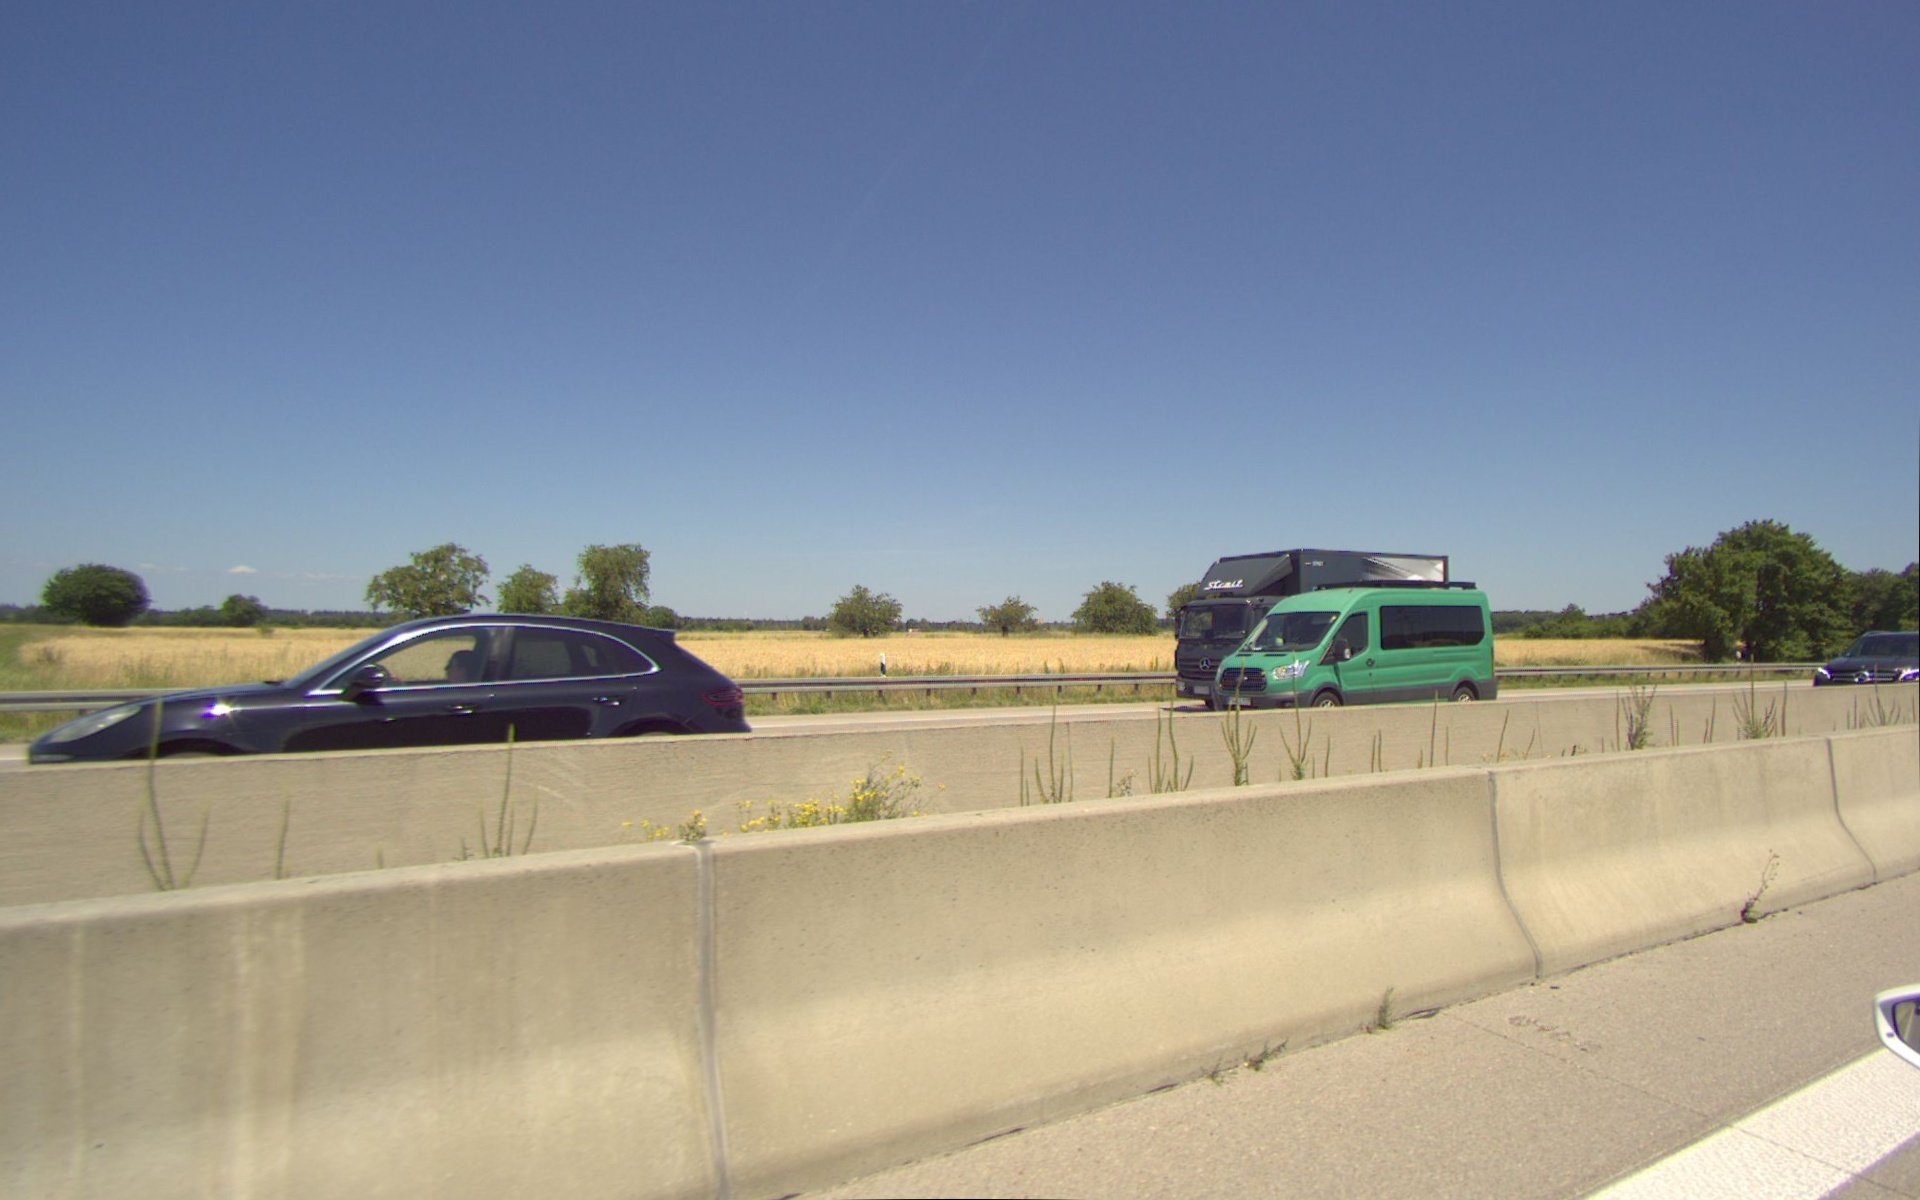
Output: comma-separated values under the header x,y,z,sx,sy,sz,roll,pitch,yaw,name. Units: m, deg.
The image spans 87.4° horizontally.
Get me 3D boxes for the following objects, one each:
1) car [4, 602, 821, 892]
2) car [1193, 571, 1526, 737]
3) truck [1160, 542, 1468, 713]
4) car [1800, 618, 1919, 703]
x,y,z,sx,sy,sz,roll,pitch,yaw,name
-3.678,0.861,7.631,4.832,1.578,1.931,1,0,-31,car
7.345,0.936,18.185,6.388,2.584,2.139,1,-2,-31,car
8.578,0.683,23.973,7.793,3.558,2.543,1,-2,-31,truck
20.393,1.243,21.656,4.792,1.597,1.984,1,0,-30,car
